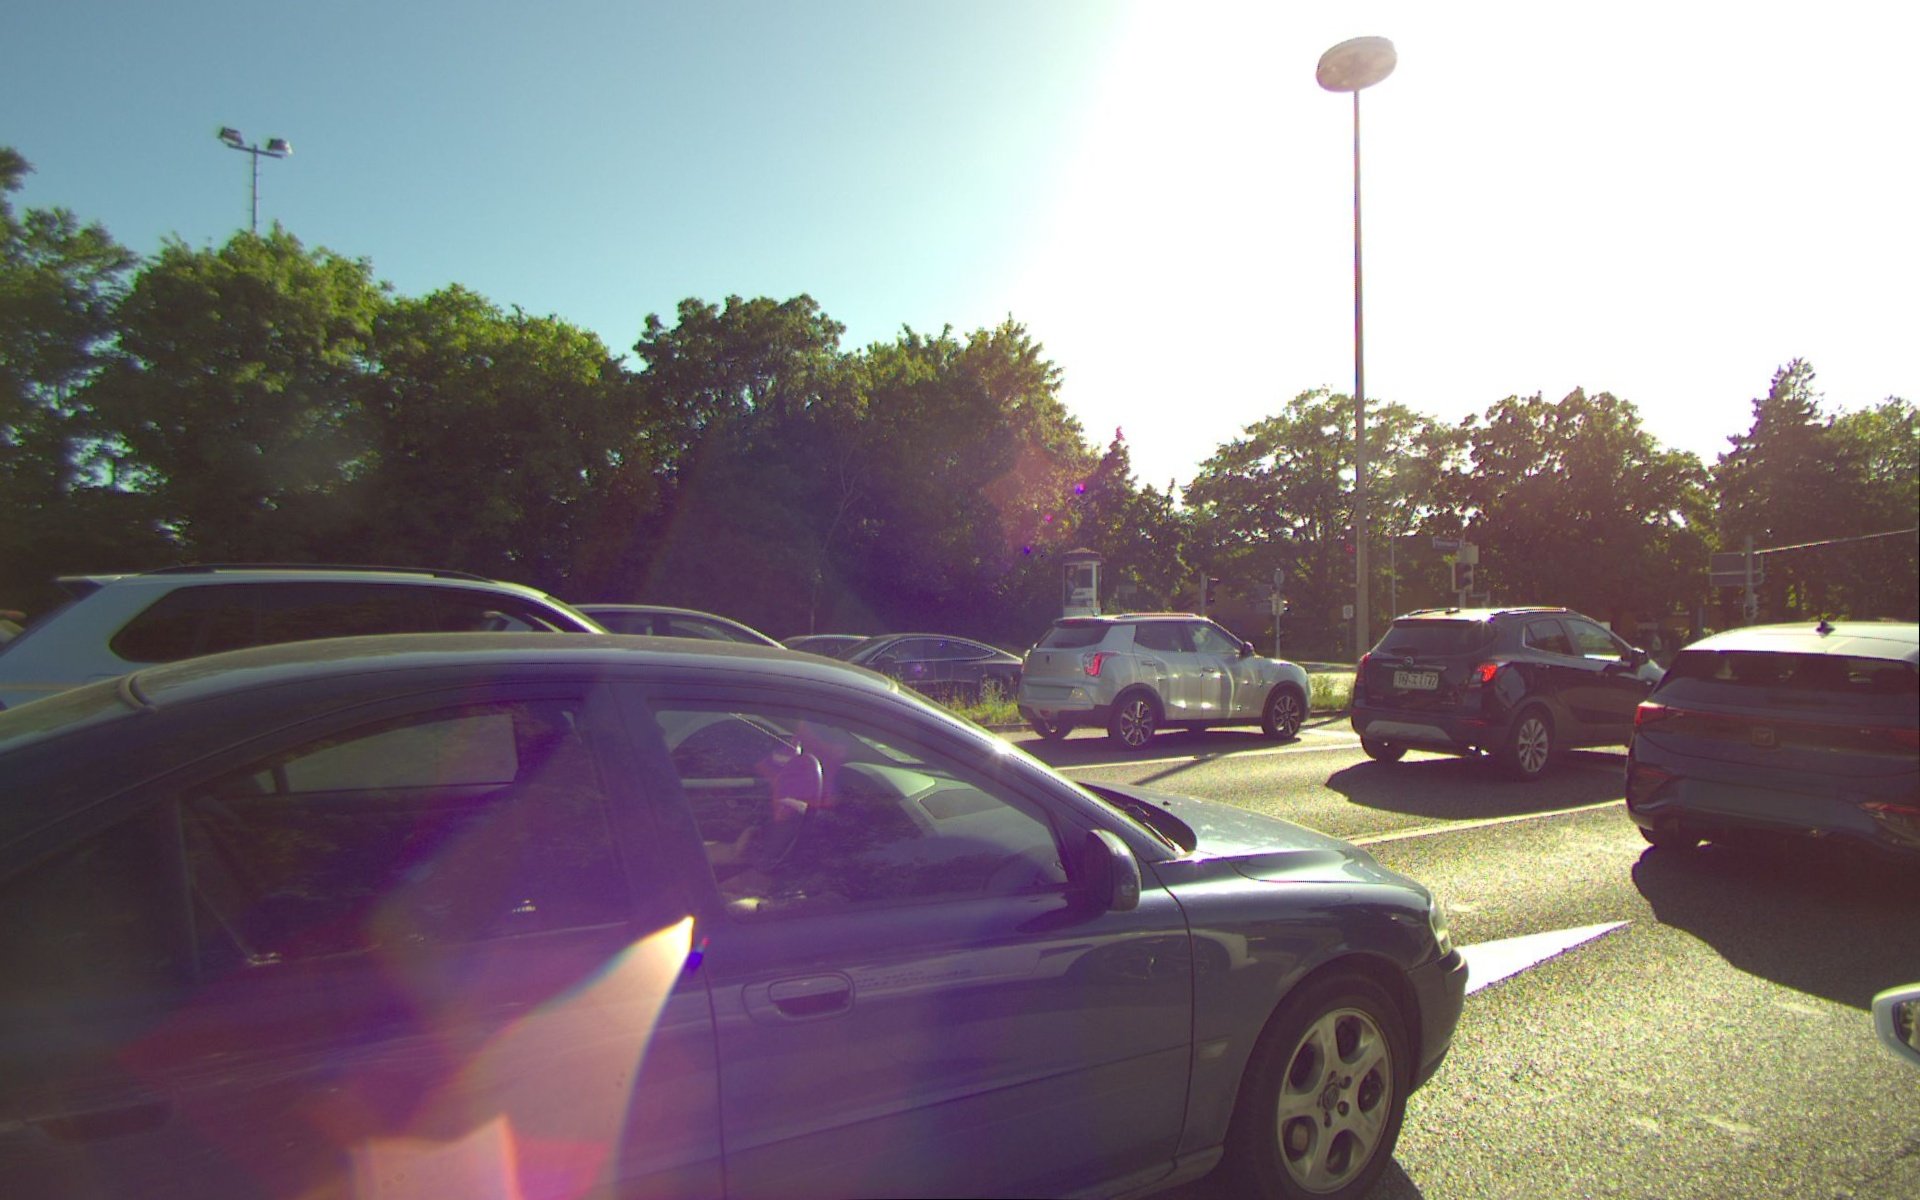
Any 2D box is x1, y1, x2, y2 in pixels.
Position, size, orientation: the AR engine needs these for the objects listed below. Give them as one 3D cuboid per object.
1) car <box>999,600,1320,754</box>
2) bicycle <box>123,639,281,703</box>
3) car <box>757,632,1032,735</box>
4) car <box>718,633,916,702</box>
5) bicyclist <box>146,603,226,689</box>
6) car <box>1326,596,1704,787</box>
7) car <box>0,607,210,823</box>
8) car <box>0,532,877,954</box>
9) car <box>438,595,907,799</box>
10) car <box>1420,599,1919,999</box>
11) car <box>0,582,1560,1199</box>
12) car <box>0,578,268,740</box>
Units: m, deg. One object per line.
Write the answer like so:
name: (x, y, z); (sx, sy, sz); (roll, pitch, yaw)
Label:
car: (2.645, 0.929, 13.090); (3.956, 1.724, 1.820); (1, -2, -32)
bicycle: (-15.365, 1.417, 20.481); (2.511, 1.228, 0.870); (2, -3, -35)
car: (-1.026, 1.275, 16.275); (4.116, 1.482, 1.768); (1, -2, -30)
car: (-2.774, 1.279, 19.673); (3.593, 1.251, 1.383); (1, -2, -30)
bicyclist: (-15.538, 0.914, 20.202); (1.187, 1.670, 0.870); (1, -2, -35)
car: (6.003, 0.888, 10.799); (3.953, 1.711, 1.796); (1, -2, -30)
car: (-8.082, 0.772, 6.862); (4.499, 1.448, 1.822); (1, -2, -30)
car: (-2.882, 0.653, 5.918); (4.373, 1.732, 1.984); (1, -2, -30)
car: (-2.780, 0.849, 9.915); (4.156, 1.632, 1.822); (1, -2, -30)
car: (4.732, 0.862, 5.816); (4.158, 1.601, 1.676); (2, -1, -30)
car: (-0.671, 0.749, 2.461); (4.404, 1.471, 1.767); (2, 0, -30)
car: (-10.320, 0.616, 10.782); (4.561, 1.622, 1.984); (1, -2, -30)
